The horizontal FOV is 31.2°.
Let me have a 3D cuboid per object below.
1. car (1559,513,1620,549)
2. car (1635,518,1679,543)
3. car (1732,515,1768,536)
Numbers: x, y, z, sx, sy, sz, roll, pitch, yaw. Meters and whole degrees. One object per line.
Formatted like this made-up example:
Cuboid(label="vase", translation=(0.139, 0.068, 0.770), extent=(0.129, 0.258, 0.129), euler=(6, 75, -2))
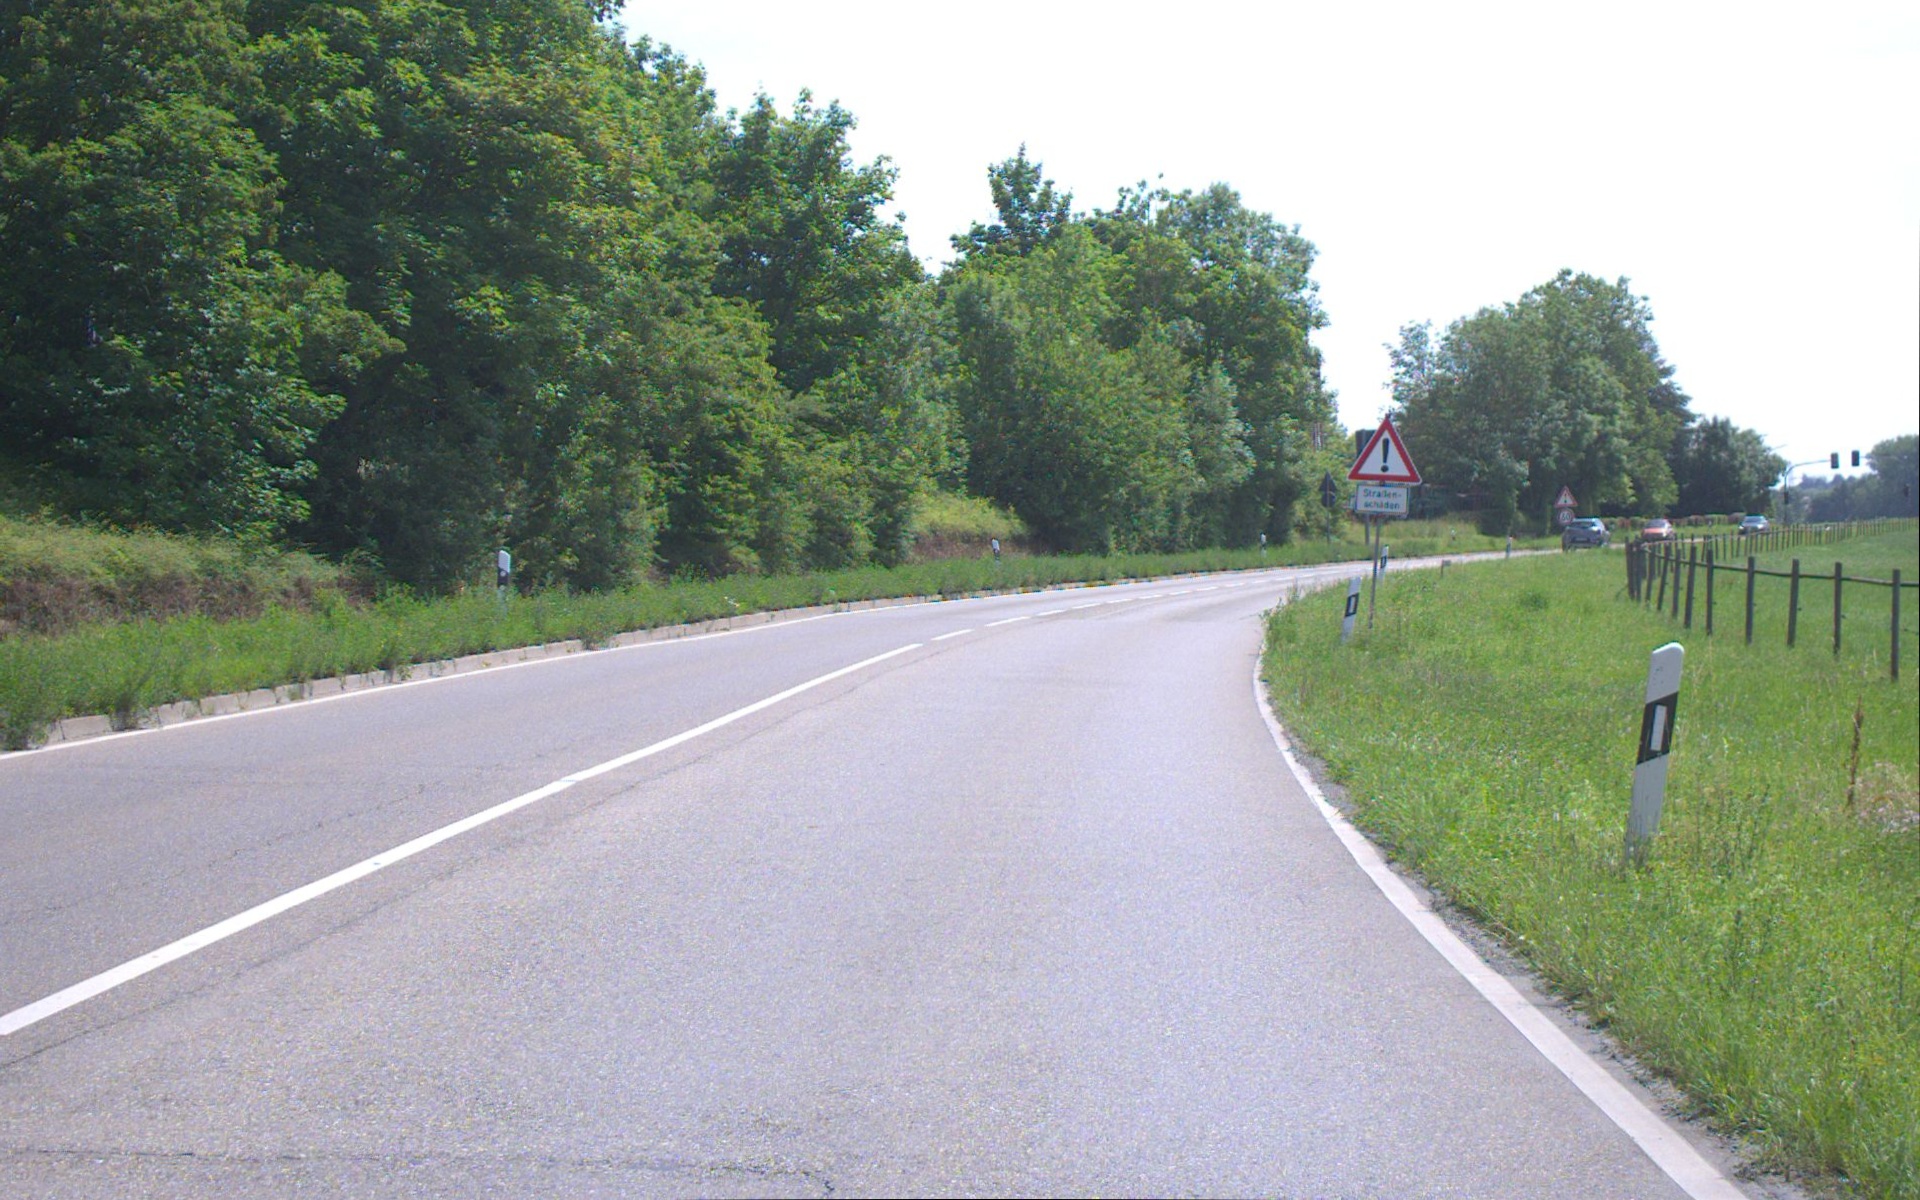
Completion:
Cuboid(label="car", translation=(28.315, -3.131, 154.581), extent=(1.995, 1.568, 3.996), euler=(1, 2, 21))
Cuboid(label="car", translation=(41.058, -4.093, 202.328), extent=(1.823, 1.463, 3.996), euler=(2, 2, 22))
Cuboid(label="car", translation=(56.569, -5.307, 246.209), extent=(1.823, 1.463, 3.995), euler=(2, 2, 23))
